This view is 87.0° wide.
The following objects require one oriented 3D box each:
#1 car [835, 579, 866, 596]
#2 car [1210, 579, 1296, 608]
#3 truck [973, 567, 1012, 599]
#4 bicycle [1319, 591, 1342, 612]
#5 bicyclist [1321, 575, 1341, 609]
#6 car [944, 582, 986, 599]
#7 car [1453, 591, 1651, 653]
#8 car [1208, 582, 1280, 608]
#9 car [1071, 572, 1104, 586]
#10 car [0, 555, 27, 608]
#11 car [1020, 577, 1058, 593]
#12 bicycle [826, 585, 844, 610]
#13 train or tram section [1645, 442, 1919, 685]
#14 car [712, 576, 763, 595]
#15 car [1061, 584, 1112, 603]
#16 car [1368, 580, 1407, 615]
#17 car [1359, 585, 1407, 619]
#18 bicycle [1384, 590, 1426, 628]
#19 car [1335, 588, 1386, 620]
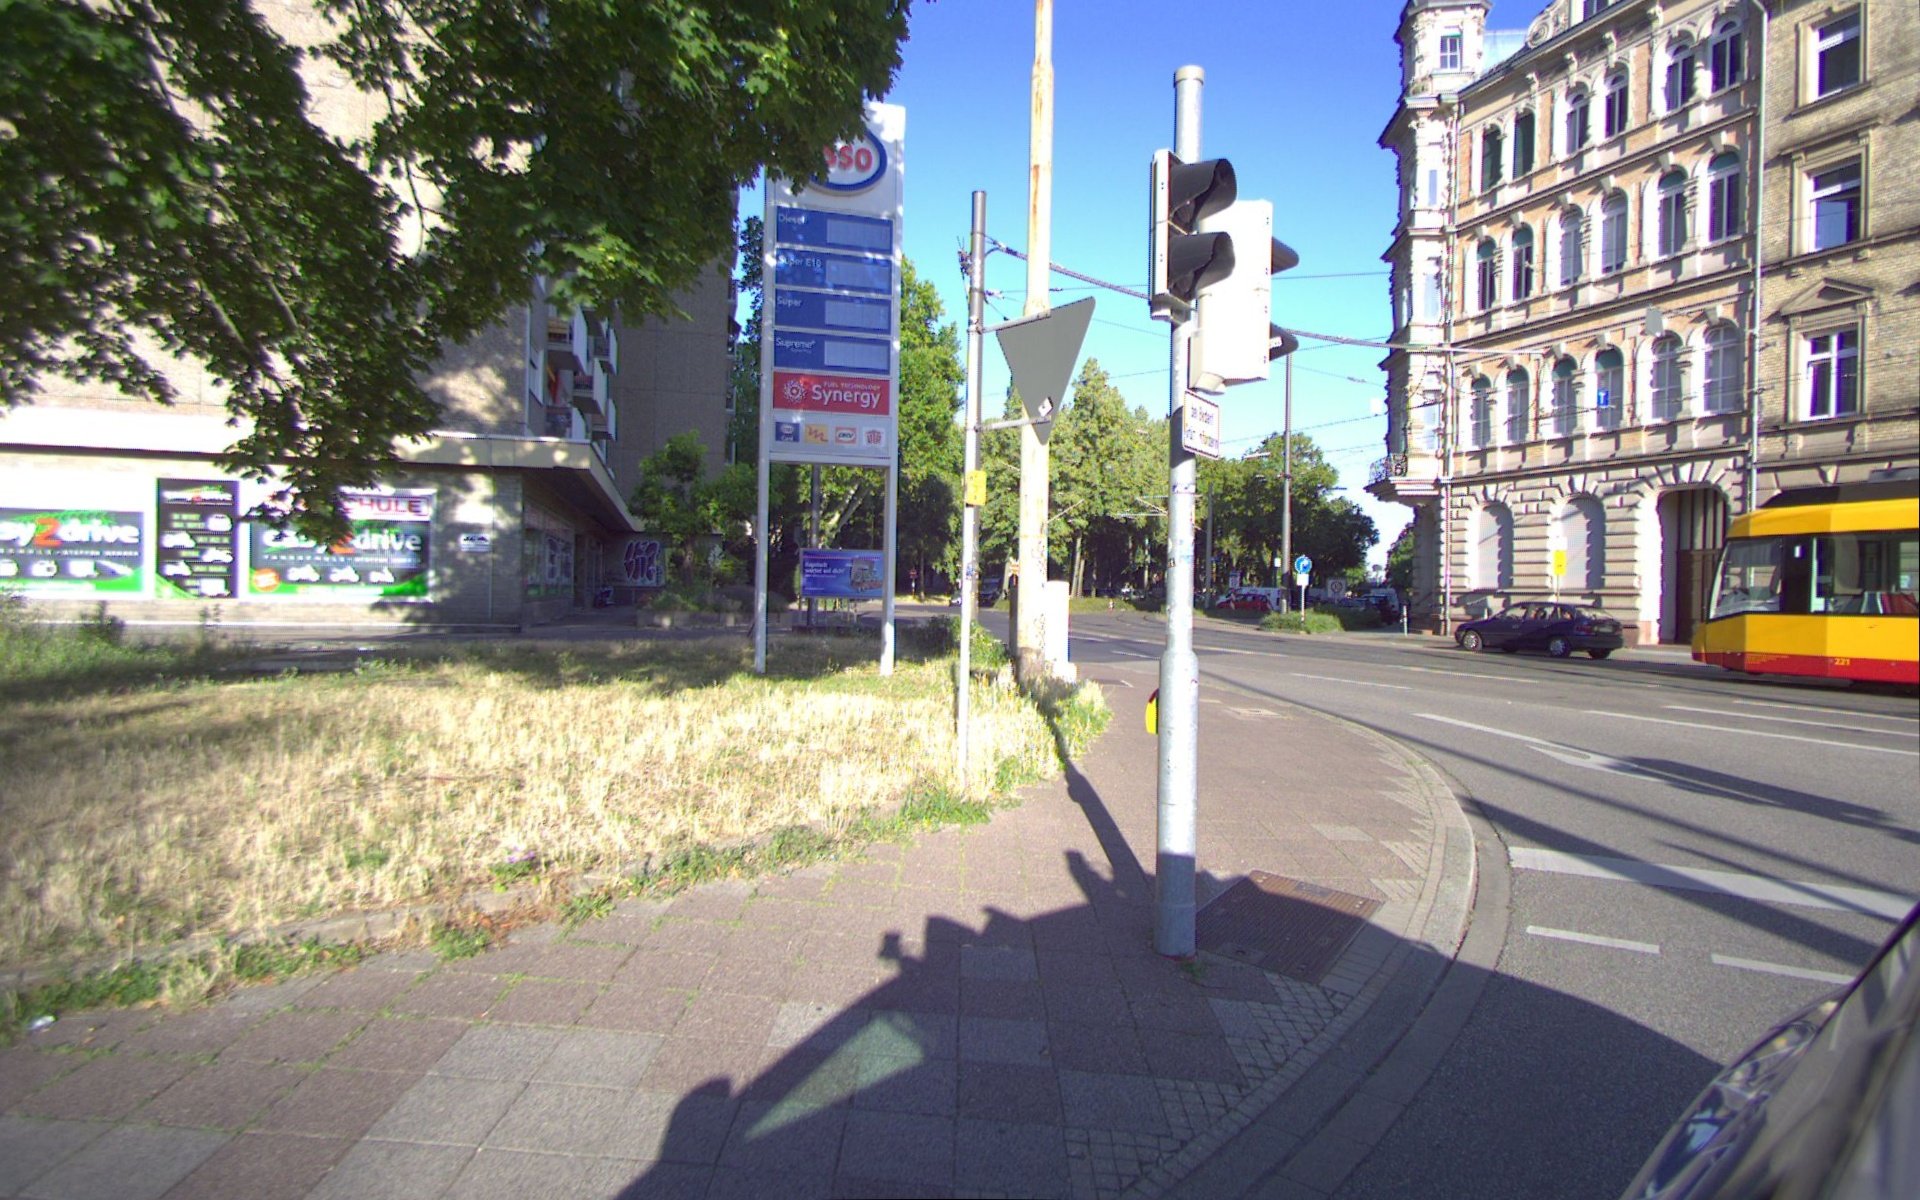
[{"bbox_3d":[-9.676,-1.126,89.280,1.705,1.467,3.639,1,1,-23],"label":"car"},{"bbox_3d":[19.073,-0.443,65.981,5.044,1.810,1.968,2,1,44],"label":"car"},{"bbox_3d":[2.996,-1.558,91.879,1.978,2.818,4.846,1,1,23],"label":"truck"},{"bbox_3d":[20.149,0.101,54.992,0.723,1.097,2.092,1,0,32],"label":"bicycle"},{"bbox_3d":[20.179,-0.425,55.050,0.725,1.864,1.198,1,0,33],"label":"bicyclist"},{"bbox_3d":[0.445,-0.813,87.033,1.934,1.415,3.958,1,1,30],"label":"car"},{"bbox_3d":[14.926,0.510,25.792,1.776,1.397,4.172,1,1,-20],"label":"car"},{"bbox_3d":[17.969,-0.337,64.035,3.988,1.526,1.839,2,1,44],"label":"car"},{"bbox_3d":[16.859,-2.796,133.891,3.985,1.772,1.856,2,1,42],"label":"car"},{"bbox_3d":[-27.248,-0.524,26.903,1.958,1.467,4.009,1,1,-15],"label":"car"},{"bbox_3d":[9.518,-1.816,121.600,1.965,1.772,4.438,1,1,-40],"label":"car"},{"bbox_3d":[-5.897,-0.134,47.803,0.598,1.149,2.282,1,1,-2],"label":"bicycle"},{"bbox_3d":[16.235,-0.468,12.967,2.809,3.552,13.042,1,1,-21],"label":"train or tram section"},{"bbox_3d":[-19.180,-1.252,87.184,3.917,1.527,1.889,1,1,-26],"label":"car"},{"bbox_3d":[10.092,-0.534,80.765,3.671,1.370,1.716,2,1,40],"label":"car"},{"bbox_3d":[26.362,-0.158,62.322,1.980,2.039,4.593,1,1,26],"label":"car"},{"bbox_3d":[21.973,0.086,52.500,1.724,1.683,3.955,1,1,31],"label":"car"},{"bbox_3d":[15.779,0.300,35.819,0.642,1.282,2.649,1,1,40],"label":"bicycle"},{"bbox_3d":[19.279,0.181,48.689,1.724,1.432,3.396,1,1,31],"label":"car"}]
